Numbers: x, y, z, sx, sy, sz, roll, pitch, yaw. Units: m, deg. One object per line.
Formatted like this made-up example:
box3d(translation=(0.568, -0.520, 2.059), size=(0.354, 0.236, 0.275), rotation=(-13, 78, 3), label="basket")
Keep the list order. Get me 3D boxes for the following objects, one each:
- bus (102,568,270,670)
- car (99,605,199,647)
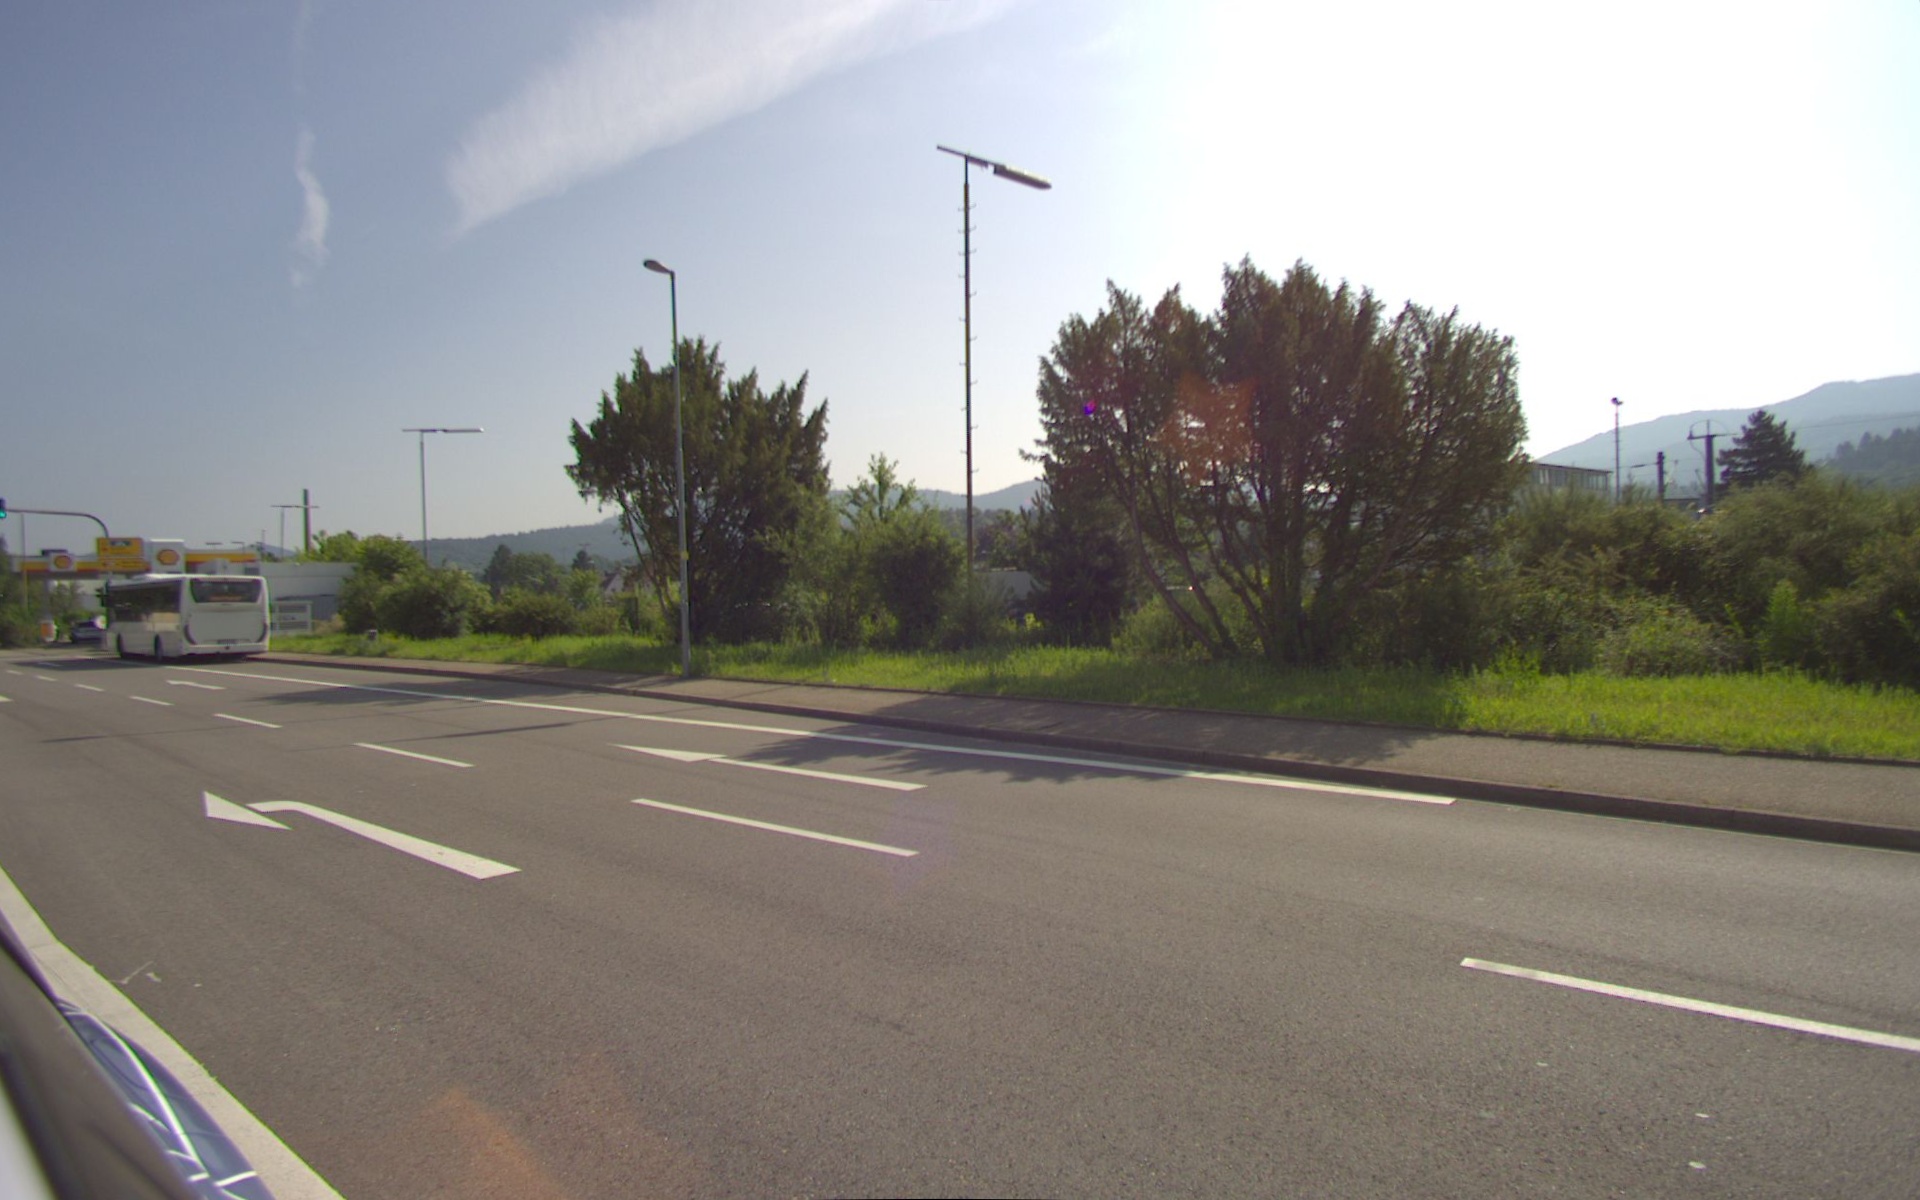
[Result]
box3d(translation=(-29.228, 0.729, 37.895), size=(11.948, 3.335, 2.594), rotation=(-1, -1, 41), label="bus")
box3d(translation=(-41.261, 1.294, 51.541), size=(3.733, 1.809, 1.703), rotation=(-6, 3, -44), label="car")
